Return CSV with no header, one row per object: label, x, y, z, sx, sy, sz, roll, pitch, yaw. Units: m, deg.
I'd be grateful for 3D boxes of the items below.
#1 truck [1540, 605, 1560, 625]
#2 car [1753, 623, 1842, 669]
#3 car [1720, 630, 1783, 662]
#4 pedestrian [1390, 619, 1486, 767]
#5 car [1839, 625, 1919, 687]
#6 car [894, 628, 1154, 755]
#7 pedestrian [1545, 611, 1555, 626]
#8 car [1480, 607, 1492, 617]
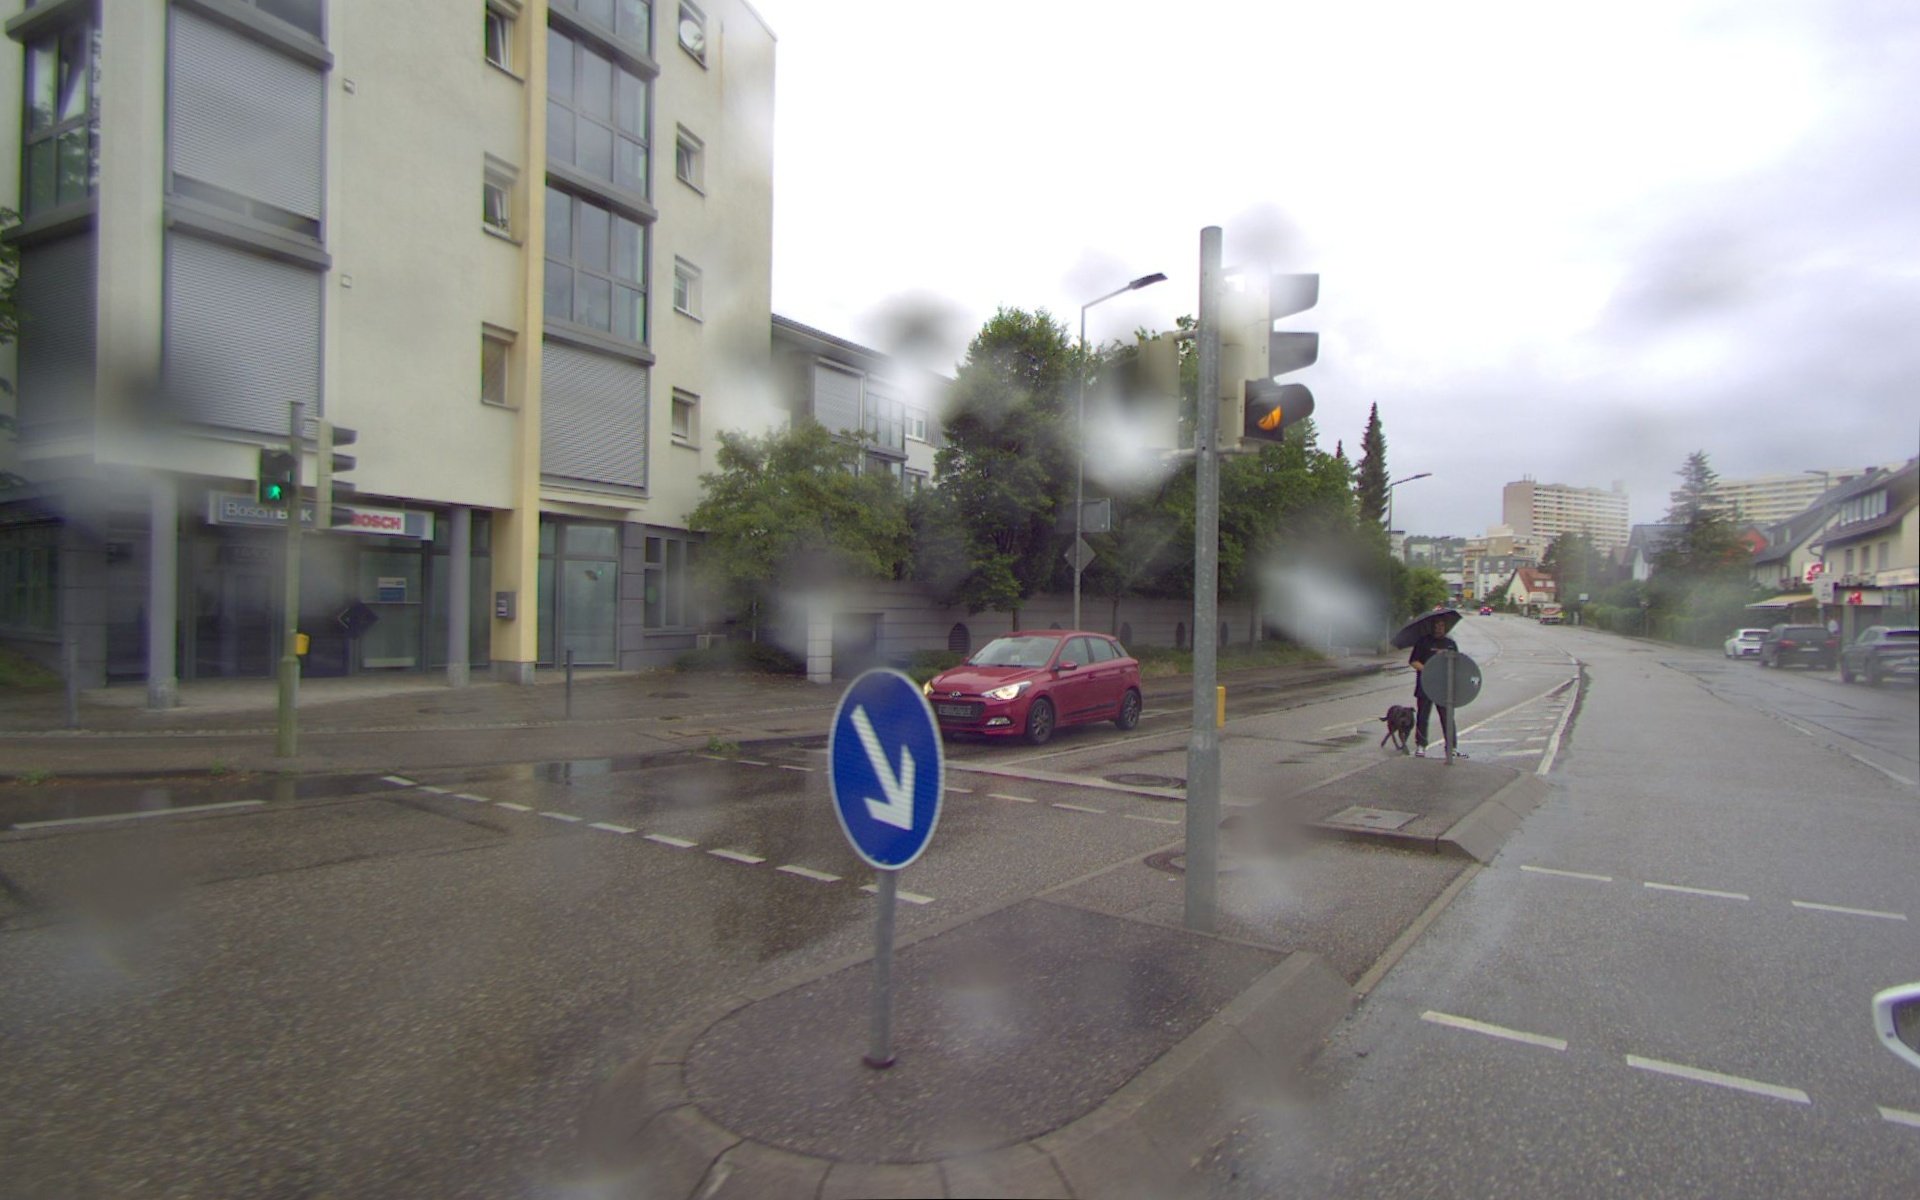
truck,72.057,1.820,122.695,1.964,2.334,3.993,0,0,29
car,33.442,1.834,40.257,2.007,1.717,4.952,-2,-3,32
car,38.395,2.202,48.834,1.789,1.467,4.195,-1,-2,30
pedestrian,5.914,1.122,12.419,0.938,1.725,0.662,2,0,-36
car,27.056,1.579,29.097,1.850,1.664,4.777,-2,-3,35
car,1.045,1.191,14.276,1.753,1.526,4.089,-2,-3,36
pedestrian,69.750,2.160,118.766,0.809,1.821,0.801,0,0,7
car,91.600,2.183,175.065,1.767,1.691,3.996,0,-1,27
